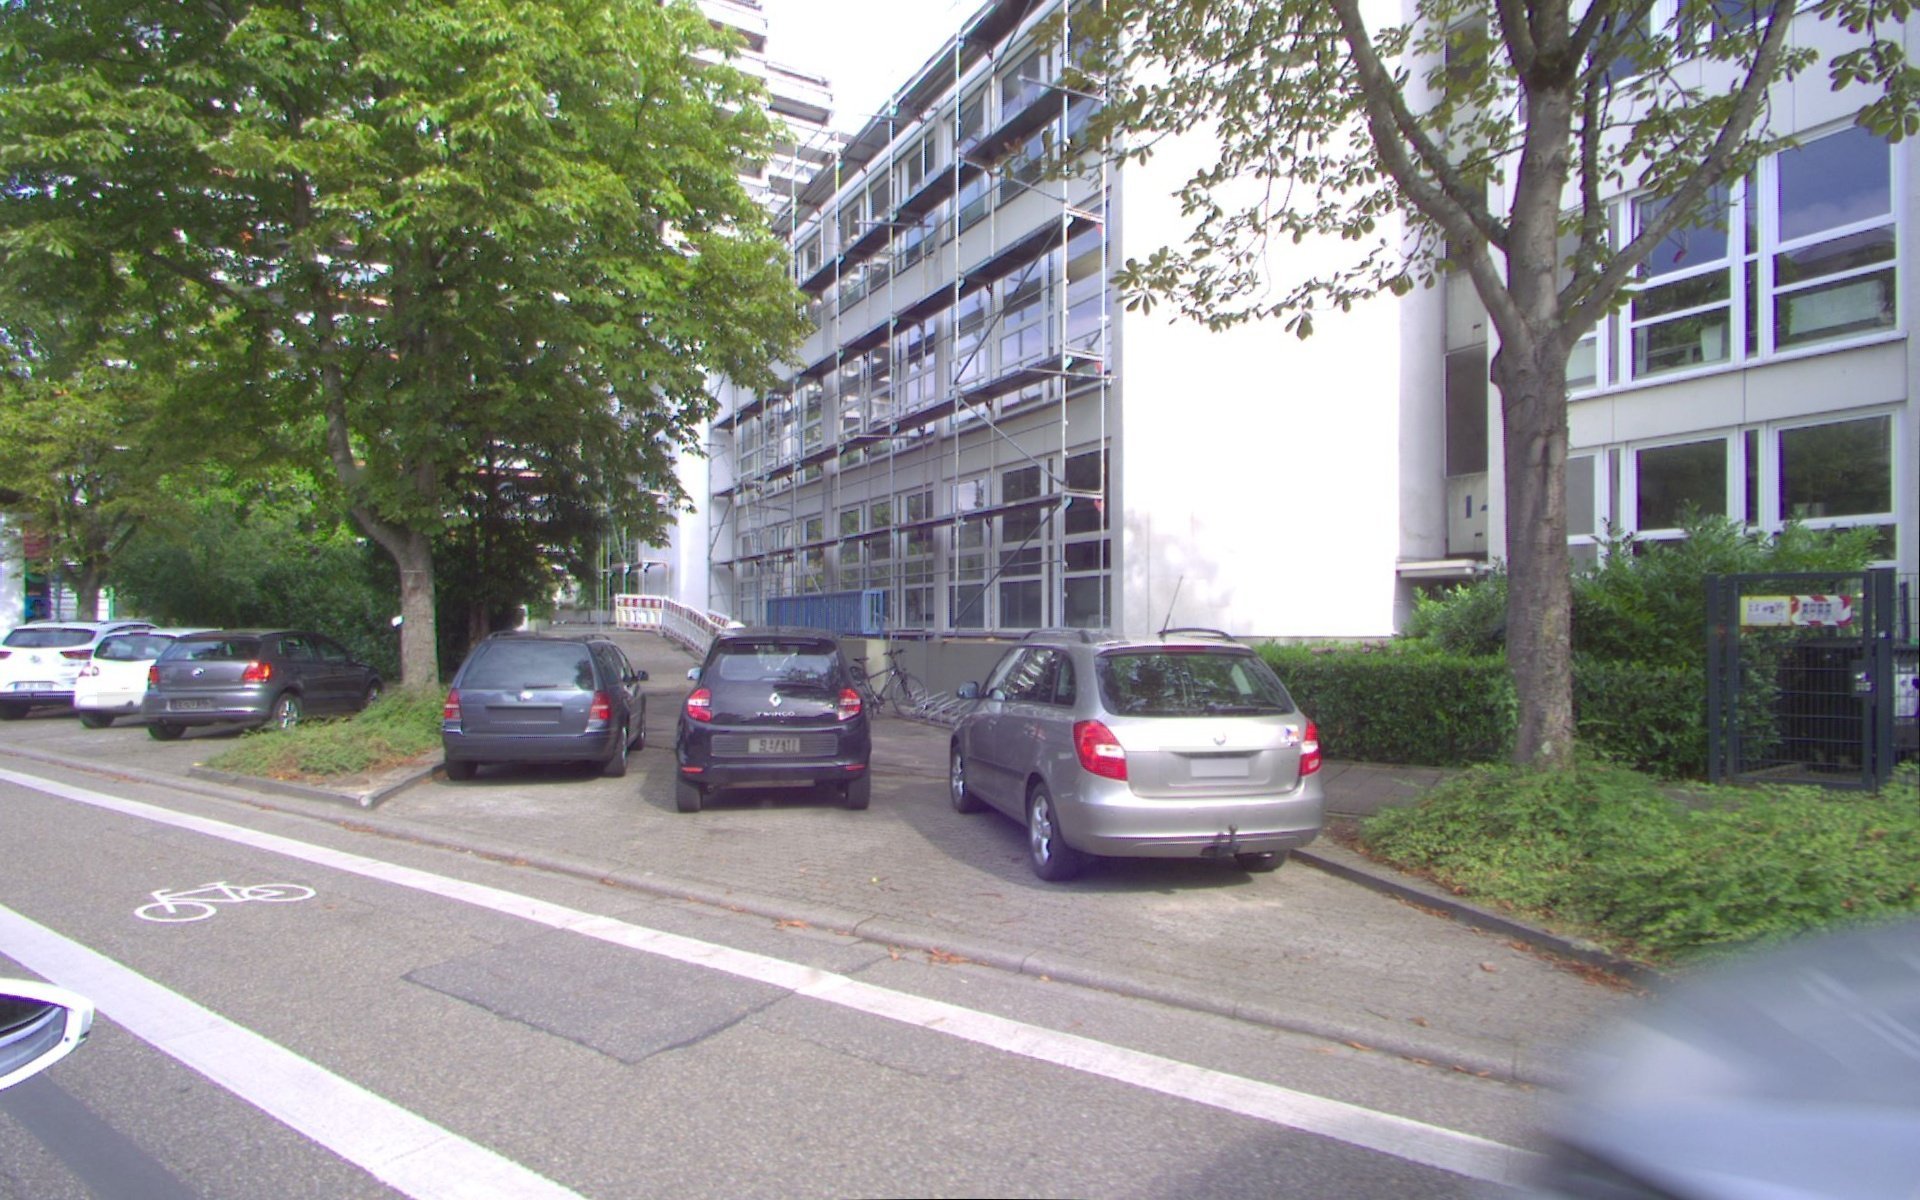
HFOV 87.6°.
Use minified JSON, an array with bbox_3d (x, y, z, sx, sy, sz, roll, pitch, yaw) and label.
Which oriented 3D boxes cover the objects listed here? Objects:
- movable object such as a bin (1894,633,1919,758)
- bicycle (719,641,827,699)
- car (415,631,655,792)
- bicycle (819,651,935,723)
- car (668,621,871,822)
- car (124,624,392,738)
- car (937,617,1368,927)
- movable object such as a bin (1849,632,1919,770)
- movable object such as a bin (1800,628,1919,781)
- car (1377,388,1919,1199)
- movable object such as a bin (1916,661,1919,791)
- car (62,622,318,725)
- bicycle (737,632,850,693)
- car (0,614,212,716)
[{"bbox_3d":[11.418,1.072,11.239,1.160,1.388,1.172,1,-1,-36],"label":"movable object such as a bin"},{"bbox_3d":[-3.558,1.319,19.089,1.944,1.057,0.593,1,-1,-20],"label":"bicycle"},{"bbox_3d":[-4.485,1.070,11.198,1.783,1.433,4.167,0,-2,-13],"label":"car"},{"bbox_3d":[-1.314,1.363,15.989,1.813,1.057,0.451,0,0,-28],"label":"bicycle"},{"bbox_3d":[-1.788,0.994,9.588,1.566,1.557,3.416,0,-1,-10],"label":"car"},{"bbox_3d":[-10.043,1.094,14.696,1.650,1.438,3.647,0,-2,-6],"label":"car"},{"bbox_3d":[0.995,0.938,7.200,1.566,1.557,4.050,1,-2,-13],"label":"car"},{"bbox_3d":[10.270,1.047,10.591,1.050,1.409,1.111,1,-1,-36],"label":"movable object such as a bin"},{"bbox_3d":[9.106,0.995,9.984,1.012,1.425,0.906,1,-1,-36],"label":"movable object such as a bin"},{"bbox_3d":[2.767,0.670,0.306,4.567,1.723,1.803,-1,-2,43],"label":"car"},{"bbox_3d":[8.482,1.083,8.295,0.734,1.119,0.781,-1,-1,39],"label":"movable object such as a bin"},{"bbox_3d":[-12.374,1.124,16.409,1.650,1.493,3.647,0,-2,-6],"label":"car"},{"bbox_3d":[-3.040,1.127,18.354,1.949,1.057,0.592,1,-1,-30],"label":"bicycle"},{"bbox_3d":[-15.224,1.092,17.835,1.651,1.623,3.644,0,-2,-12],"label":"car"}]
